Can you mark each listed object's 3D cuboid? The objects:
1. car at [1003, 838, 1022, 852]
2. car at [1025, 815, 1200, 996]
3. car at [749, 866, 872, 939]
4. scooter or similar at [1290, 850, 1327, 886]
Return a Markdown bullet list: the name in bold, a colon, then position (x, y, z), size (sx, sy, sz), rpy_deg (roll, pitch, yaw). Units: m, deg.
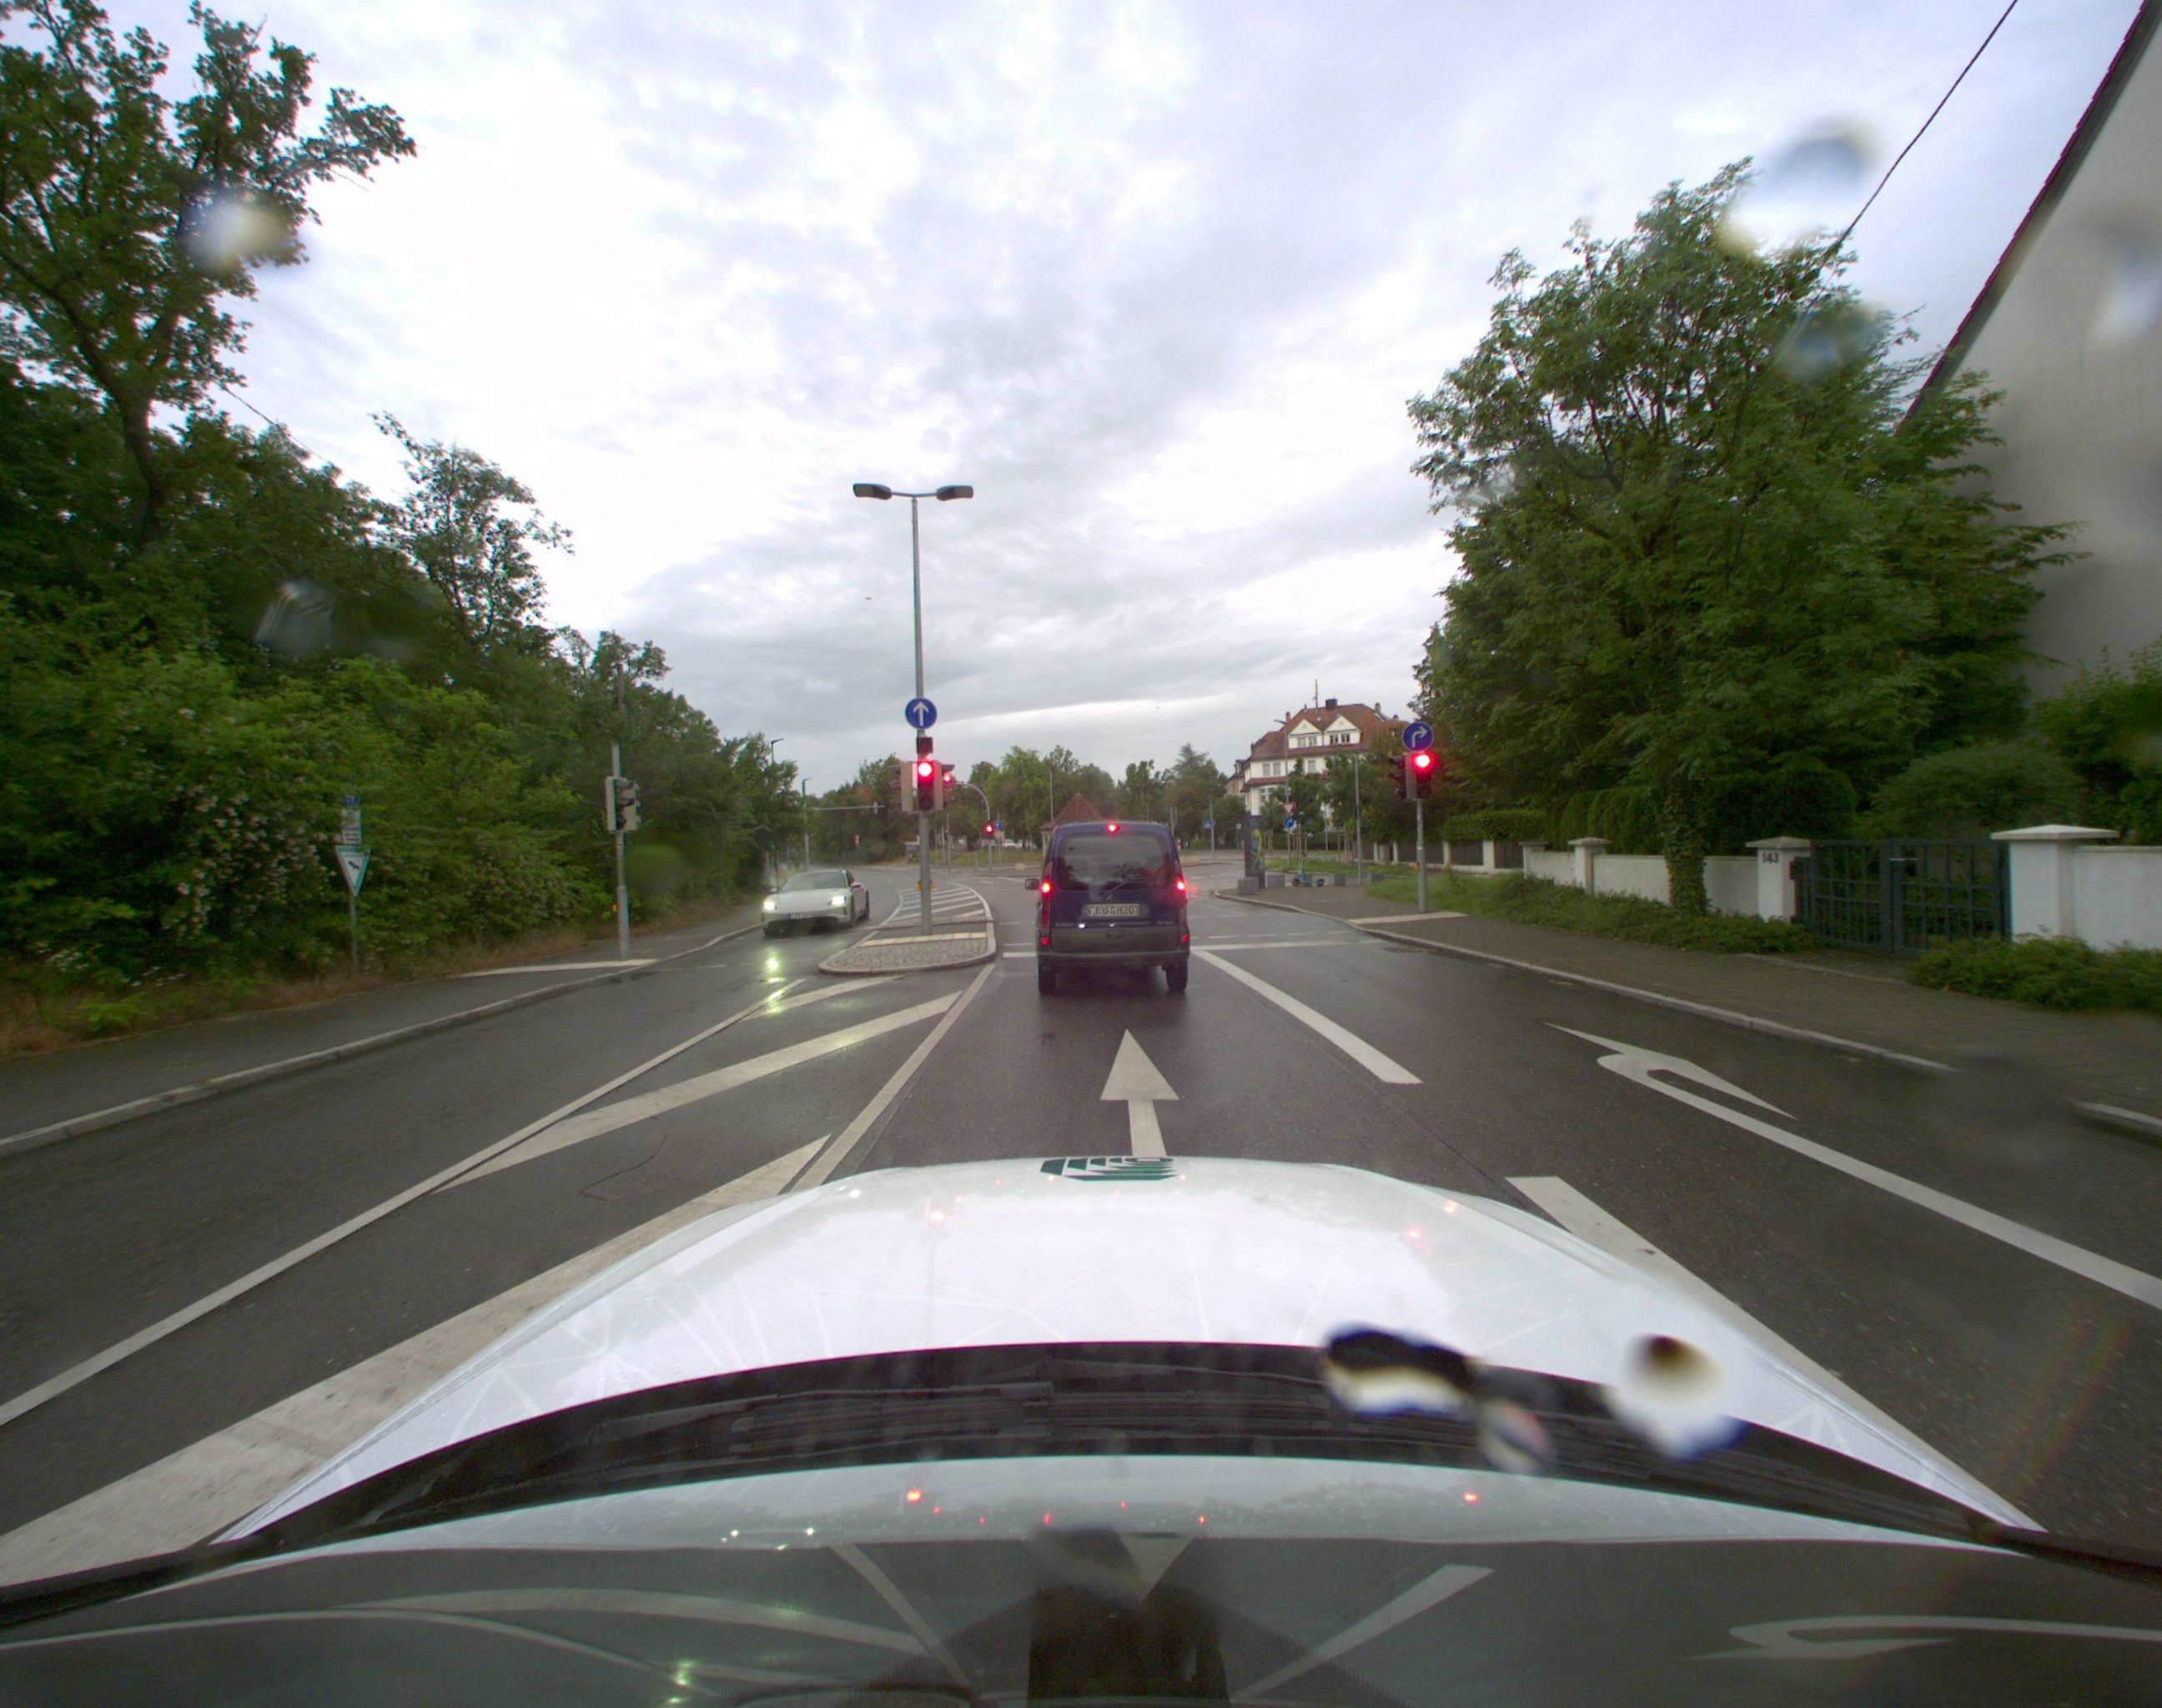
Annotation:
- **car**: position (-9.354, -1.249, 111.545), size (1.986, 1.812, 4.002), rpy_deg (-1, -1, 2)
- **car**: position (0.316, 0.503, 10.188), size (1.726, 1.786, 3.999), rpy_deg (-1, 0, 0)
- **car**: position (-6.366, 1.065, 19.668), size (1.993, 1.311, 4.347), rpy_deg (-5, 1, -8)
- **scooter or similar**: position (8.046, 0.486, 28.831), size (1.145, 1.219, 0.406), rpy_deg (-2, -1, 0)
